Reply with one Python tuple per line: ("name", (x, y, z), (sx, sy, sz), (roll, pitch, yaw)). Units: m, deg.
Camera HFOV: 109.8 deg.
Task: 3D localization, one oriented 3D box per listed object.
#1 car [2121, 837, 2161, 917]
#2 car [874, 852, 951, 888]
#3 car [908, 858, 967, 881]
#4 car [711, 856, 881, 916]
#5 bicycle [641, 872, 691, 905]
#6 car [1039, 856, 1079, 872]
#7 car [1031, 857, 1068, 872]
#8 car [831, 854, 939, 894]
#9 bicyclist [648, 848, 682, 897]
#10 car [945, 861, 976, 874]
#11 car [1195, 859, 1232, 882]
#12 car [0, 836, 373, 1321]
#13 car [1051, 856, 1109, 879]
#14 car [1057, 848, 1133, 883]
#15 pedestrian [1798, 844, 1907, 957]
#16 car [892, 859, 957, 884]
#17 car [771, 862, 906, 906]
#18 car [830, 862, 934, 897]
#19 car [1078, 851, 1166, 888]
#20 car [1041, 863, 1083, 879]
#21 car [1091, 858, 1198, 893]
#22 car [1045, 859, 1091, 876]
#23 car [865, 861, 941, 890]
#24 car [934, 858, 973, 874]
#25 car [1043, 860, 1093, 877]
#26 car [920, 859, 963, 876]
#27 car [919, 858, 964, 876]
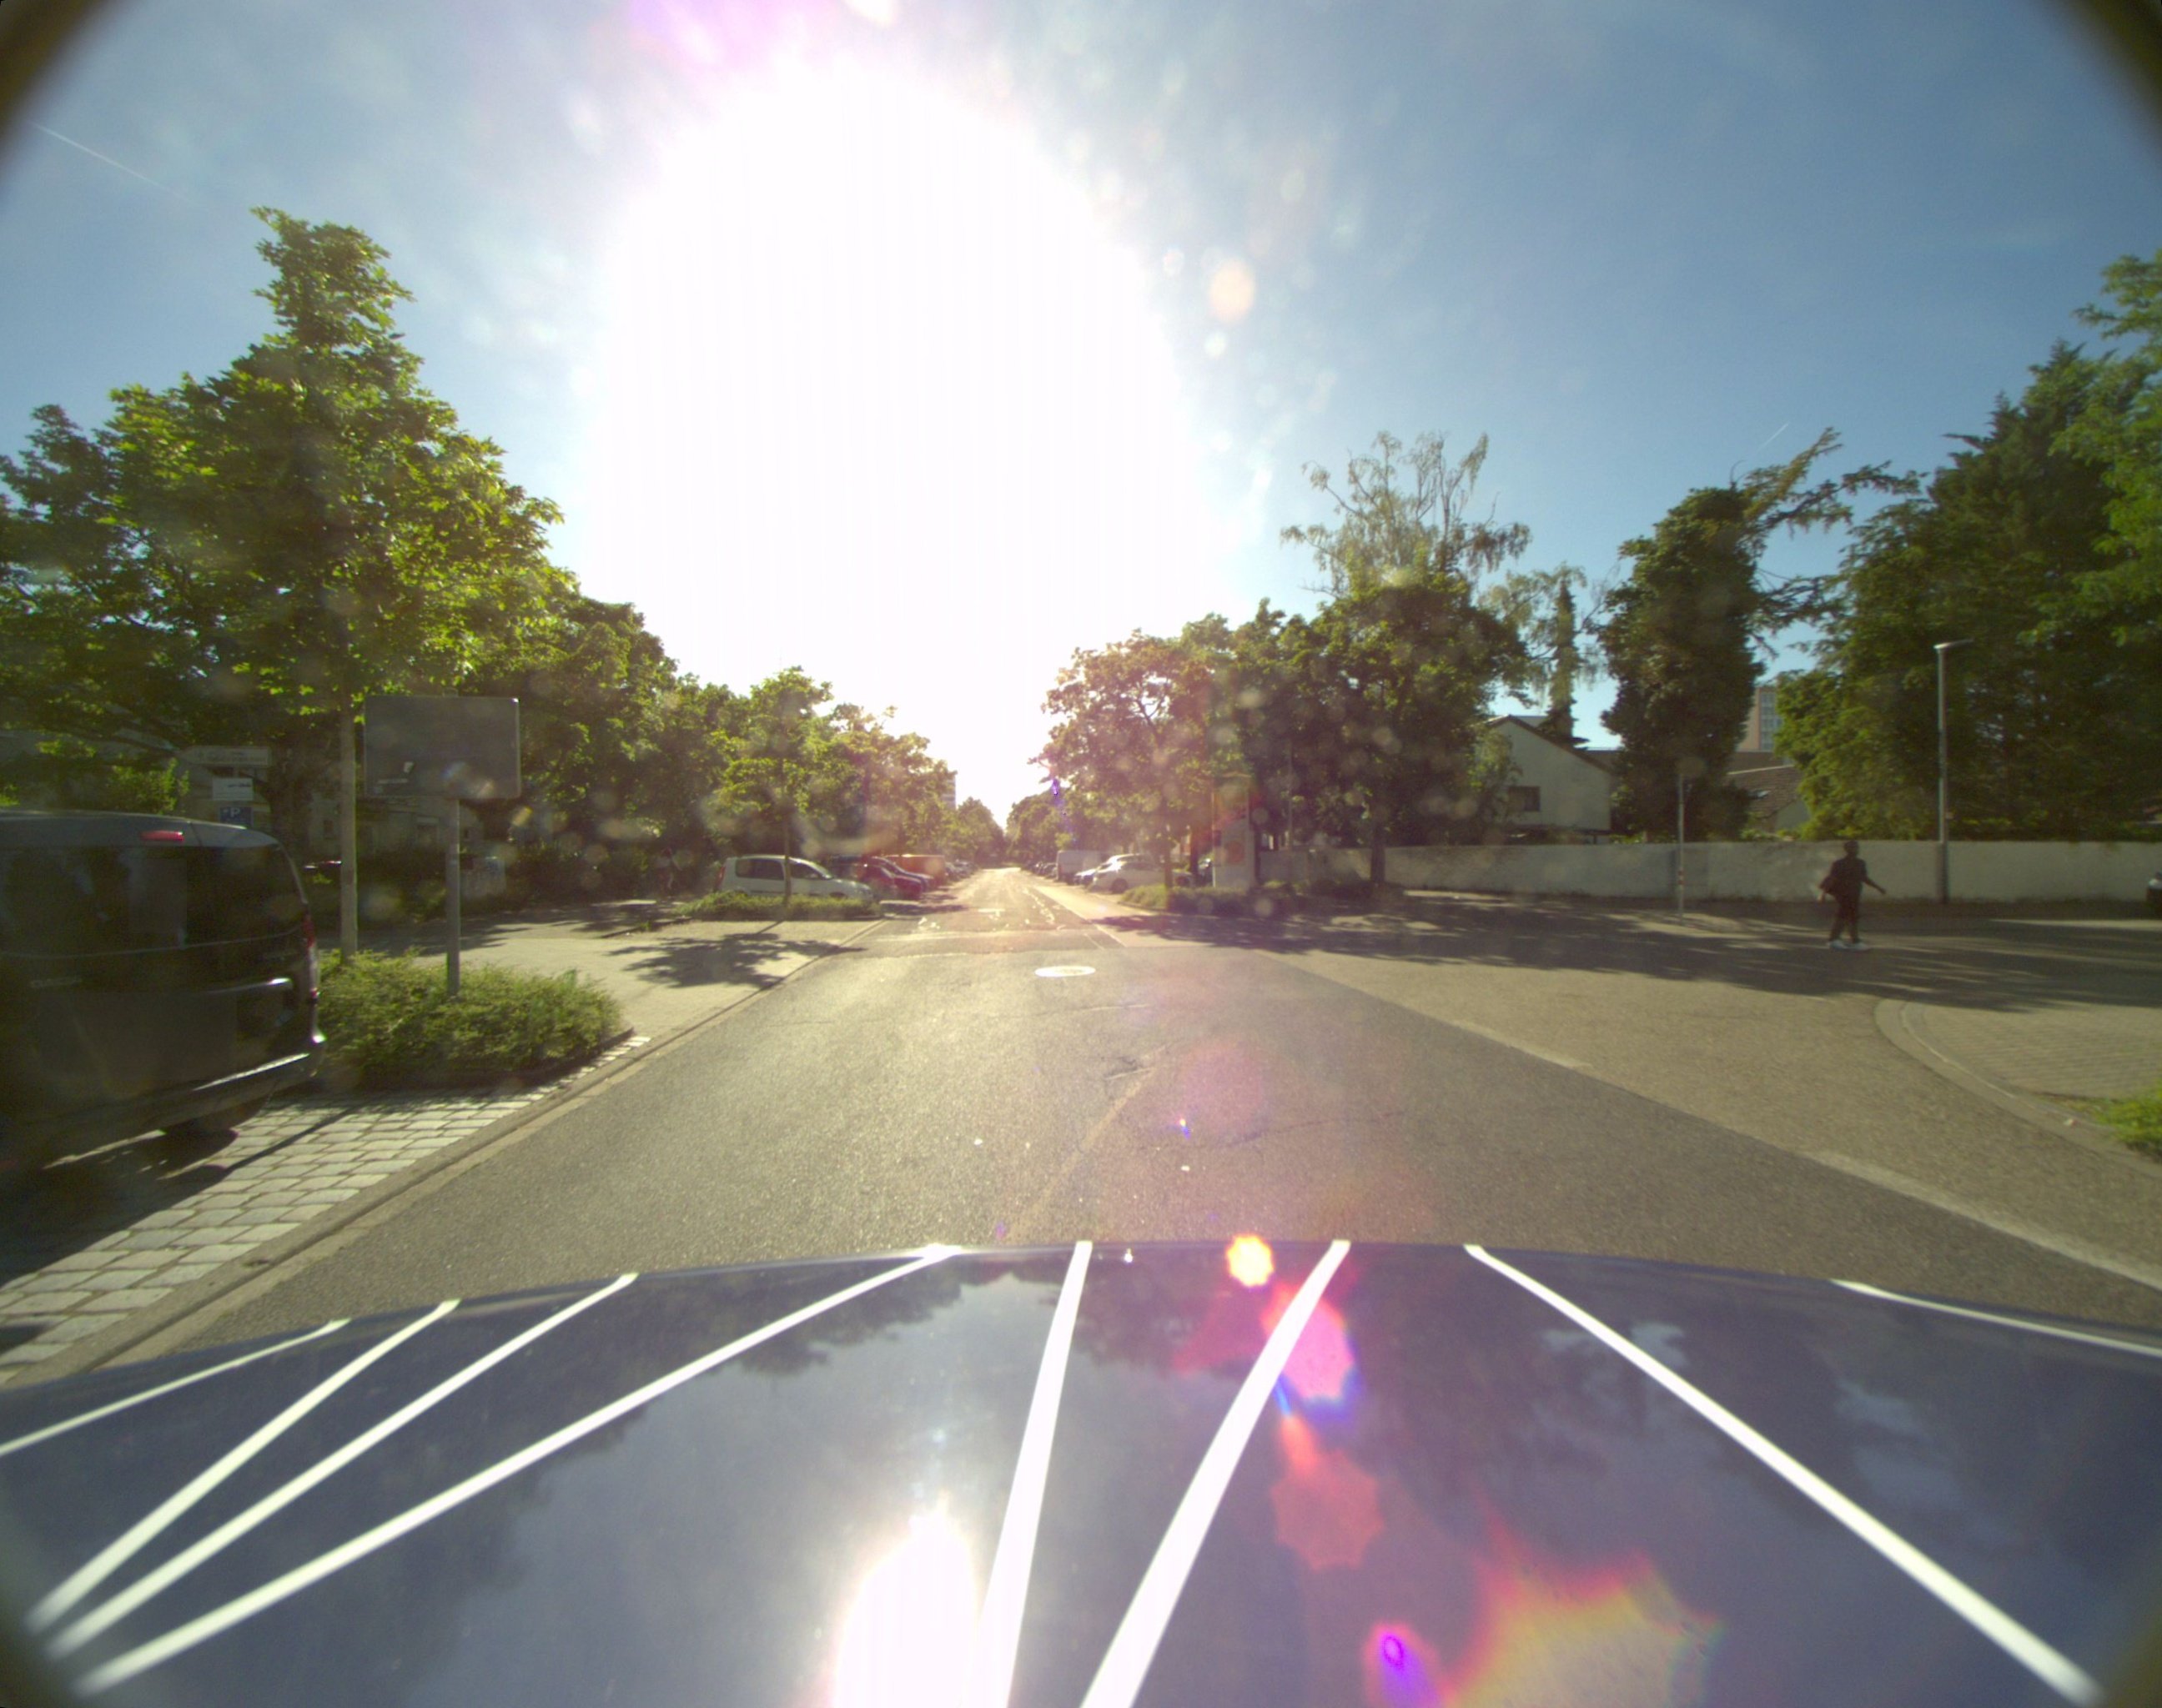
("car", (28.265, 0.536, 17.989), (5.146, 1.903, 1.903), (0, 1, -5))
("car", (-9.859, 0.916, 44.763), (4.260, 2.020, 1.972), (1, 0, -8))
("car", (-10.900, 1.181, 58.037), (4.260, 1.604, 1.972), (1, 0, -8))
("car", (-7.925, 0.887, 21.482), (4.168, 1.588, 1.828), (1, 0, -8))
("bicycle", (-13.097, 1.076, 24.024), (0.596, 0.989, 2.088), (0, -1, -5))
("car", (-2.658, 1.182, 89.857), (4.565, 1.819, 1.999), (0, -1, -7))
("car", (-4.000, 1.319, 96.461), (4.565, 1.819, 1.999), (0, -1, -7))
("car", (-9.076, 0.920, 35.494), (4.664, 1.762, 1.828), (1, 0, -8))
("bicyclist", (-13.107, 0.587, 23.961), (0.596, 1.514, 1.014), (0, -1, -5))
("car", (-16.724, 1.905, 105.485), (4.260, 1.706, 1.972), (1, 0, -8))
("car", (9.723, 1.178, 55.985), (1.834, 1.604, 4.143), (1, 0, -2))
("car", (-6.225, 0.814, 3.398), (4.167, 1.836, 1.879), (1, 0, -6))
("car", (-0.103, 1.129, 63.026), (4.565, 1.819, 1.999), (0, -1, -7))
("car", (0.962, 0.821, 53.381), (5.134, 2.364, 1.999), (0, -1, -7))
("pedestrian", (11.801, 0.688, 11.654), (0.837, 1.675, 0.808), (1, 0, 7))
("car", (-10.683, 1.198, 52.100), (4.260, 1.562, 1.972), (1, 0, -8))
("car", (-8.238, 1.014, 26.147), (4.168, 1.398, 1.828), (1, 0, -8))
("car", (-8.610, 1.087, 33.116), (4.168, 1.398, 1.828), (1, 0, -8))
("car", (2.274, 0.877, 42.927), (4.635, 1.979, 1.999), (0, -1, -7))
("car", (-2.173, 1.914, 85.469), (4.565, 1.819, 1.999), (0, -1, -7))
("car", (2.892, 0.970, 35.295), (4.686, 1.398, 1.828), (-2, 0, -5))
("car", (-1.381, 1.422, 79.839), (4.565, 1.819, 1.999), (0, -1, -7))
("car", (-9.429, 1.147, 40.537), (3.787, 1.465, 1.767), (1, 0, -8))
("car", (-14.373, 1.387, 85.922), (4.260, 1.706, 1.972), (1, 0, -8))
("car", (-1.256, 1.348, 72.970), (4.565, 1.590, 1.999), (0, -1, -7))
("car", (-14.363, 1.377, 78.615), (4.260, 1.706, 1.972), (1, 0, -8))
("car", (-13.561, 1.254, 74.028), (4.260, 1.706, 1.972), (1, 0, -8))
